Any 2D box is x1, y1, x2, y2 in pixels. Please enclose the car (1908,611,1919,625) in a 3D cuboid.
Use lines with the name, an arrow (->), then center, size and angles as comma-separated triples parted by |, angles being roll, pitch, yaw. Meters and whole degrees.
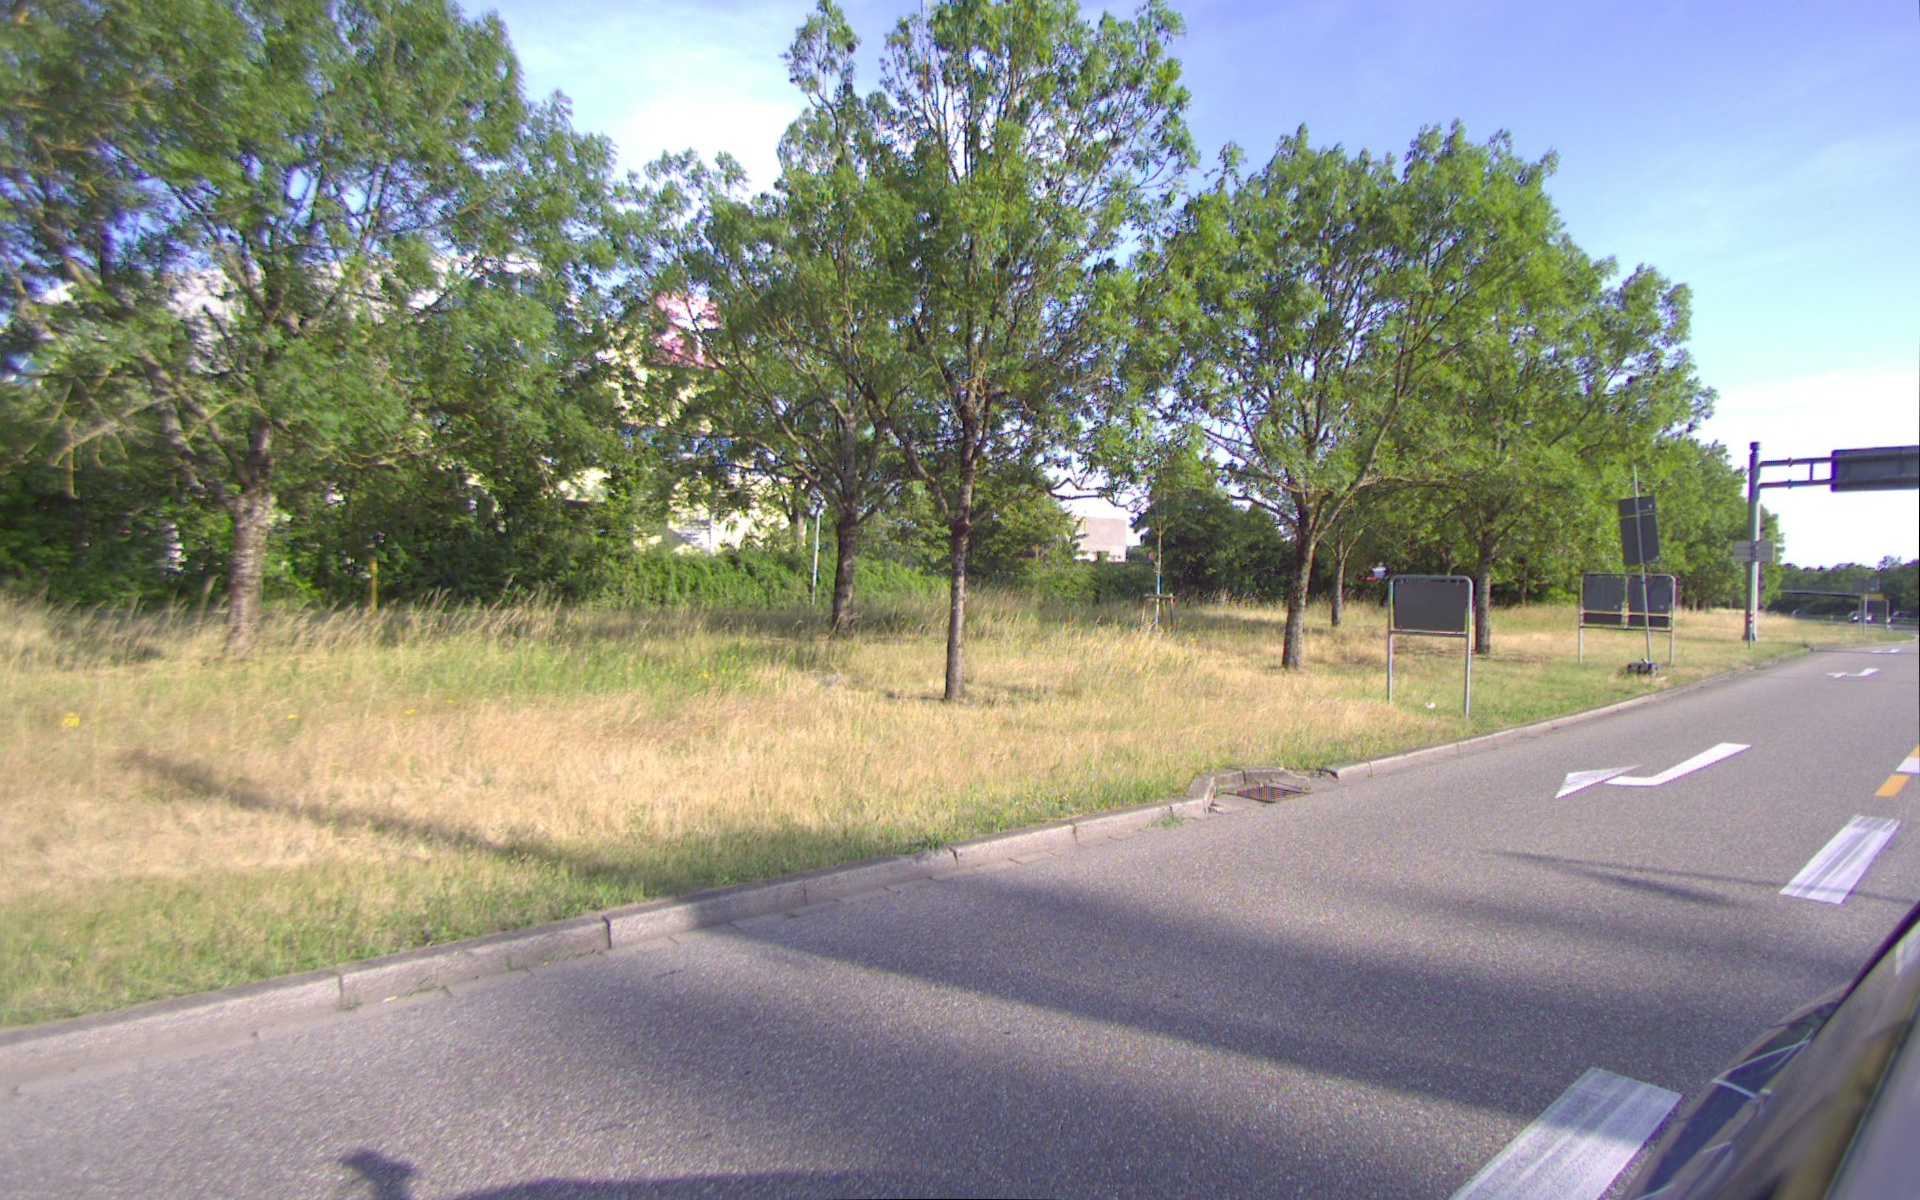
car -> 131.125, 2.476, 138.245 | 1.780, 1.829, 4.069 | 2, 1, 36

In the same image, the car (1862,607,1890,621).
car -> 111.965, 1.698, 123.737 | 1.883, 1.474, 3.863 | 2, 2, 33

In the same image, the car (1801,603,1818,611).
car -> 166.168, 1.317, 197.952 | 1.720, 1.632, 3.491 | 0, 0, 26
